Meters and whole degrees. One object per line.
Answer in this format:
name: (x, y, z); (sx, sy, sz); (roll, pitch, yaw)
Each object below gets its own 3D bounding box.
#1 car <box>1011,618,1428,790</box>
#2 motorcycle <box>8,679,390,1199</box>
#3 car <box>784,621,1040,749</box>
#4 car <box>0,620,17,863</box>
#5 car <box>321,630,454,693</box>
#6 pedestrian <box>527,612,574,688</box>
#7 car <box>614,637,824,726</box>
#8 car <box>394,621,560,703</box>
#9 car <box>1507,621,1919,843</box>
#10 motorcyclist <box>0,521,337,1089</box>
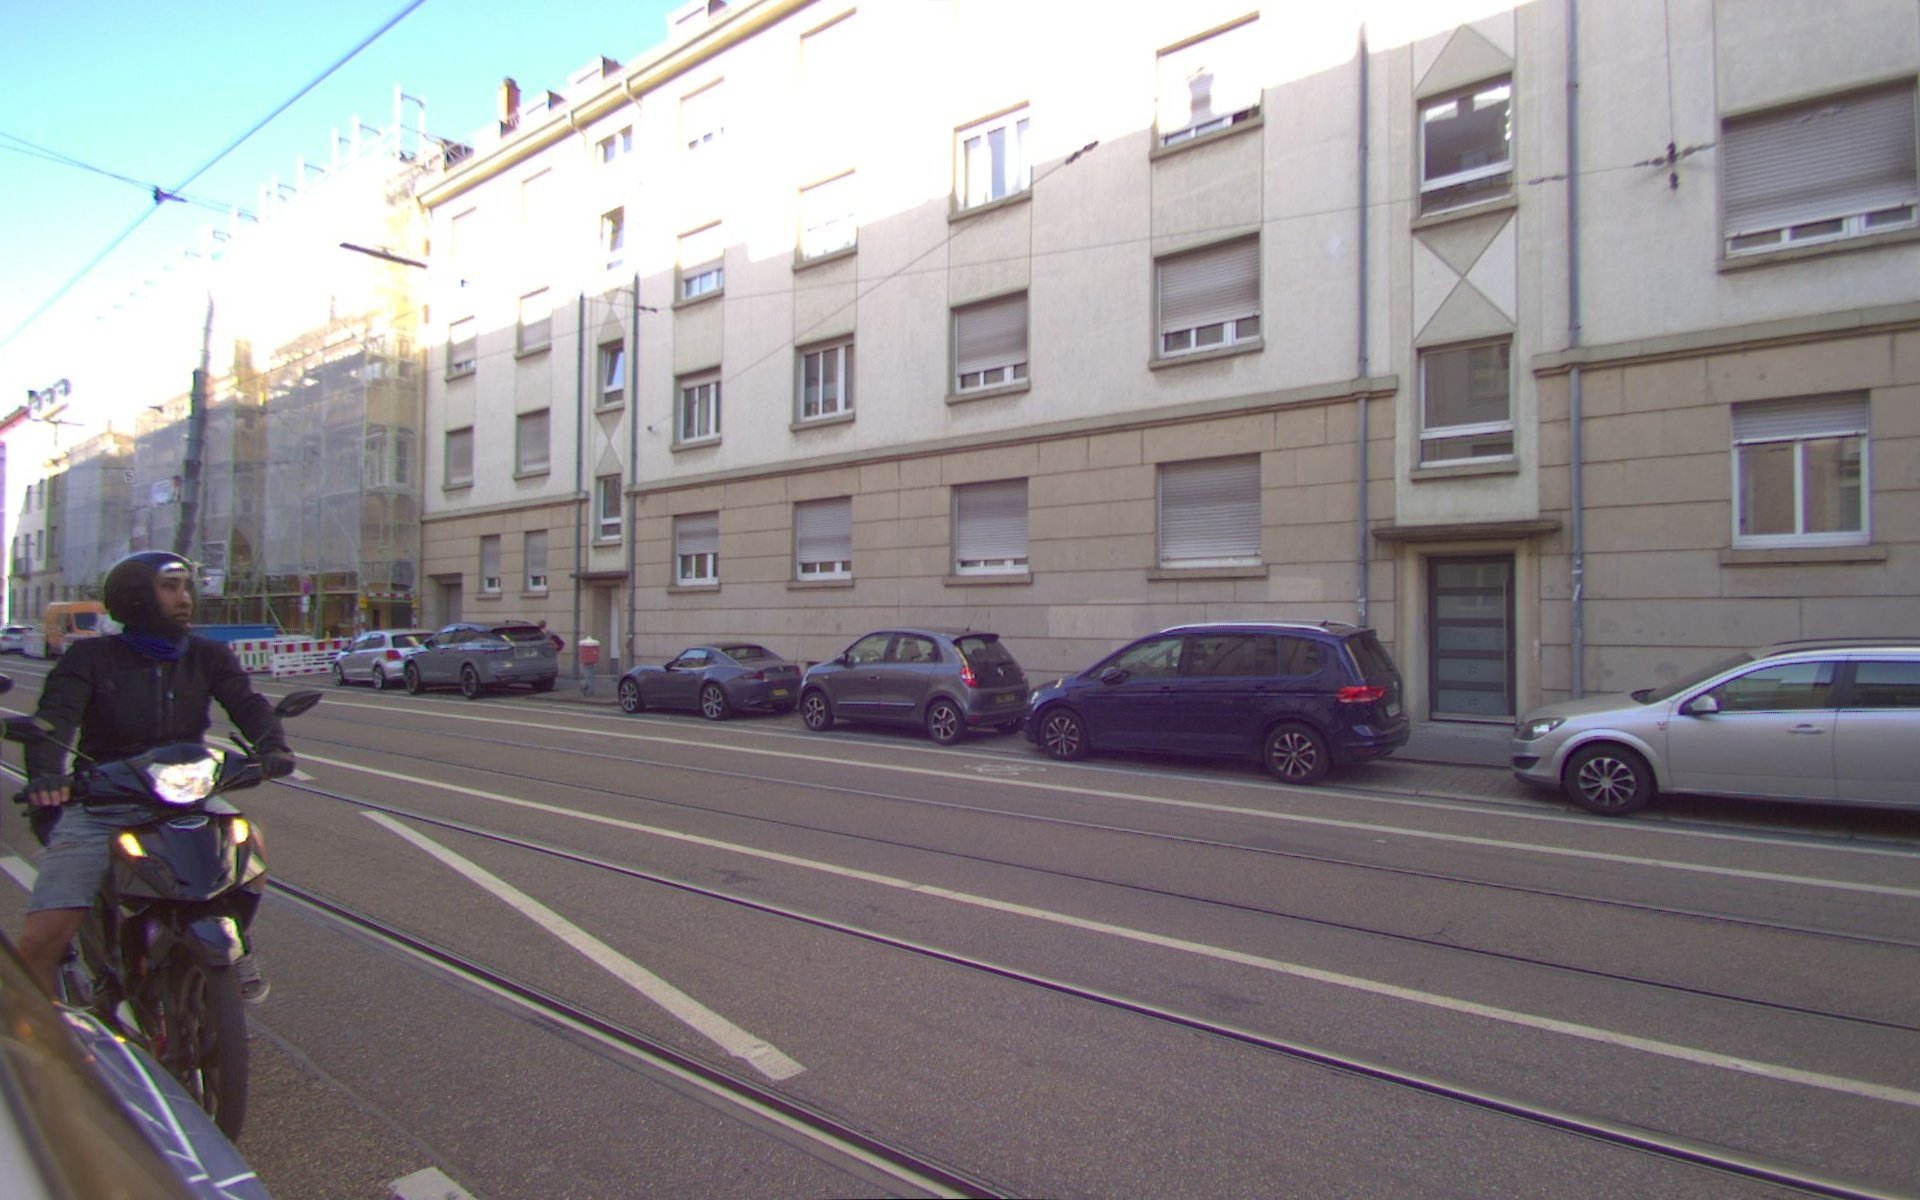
car: (2.896, 1.030, 11.721); (4.285, 1.597, 1.887); (-1, 0, 37)
motorcycle: (-2.401, 0.914, 3.081); (1.980, 1.228, 0.532); (-1, 0, 41)
car: (-0.754, 1.120, 14.679); (3.493, 1.584, 1.650); (-1, 0, 38)
car: (-8.011, 0.902, 7.018); (3.997, 1.515, 1.670); (-2, -3, 40)
car: (-14.439, 1.497, 25.477); (3.639, 1.402, 1.617); (-1, 0, 37)
pedestrian: (-9.822, 1.176, 24.274); (0.776, 1.777, 0.742); (-1, 0, 41)
car: (-4.210, 1.336, 17.514); (3.483, 1.286, 1.730); (-1, 0, 37)
car: (-10.860, 1.309, 22.640); (4.108, 1.603, 1.691); (-1, 0, 38)
car: (7.227, 0.993, 8.531); (4.358, 1.571, 1.975); (-1, 0, 38)
motorcyclist: (-2.549, 0.546, 3.188); (0.598, 1.516, 0.851); (-1, 0, 41)
